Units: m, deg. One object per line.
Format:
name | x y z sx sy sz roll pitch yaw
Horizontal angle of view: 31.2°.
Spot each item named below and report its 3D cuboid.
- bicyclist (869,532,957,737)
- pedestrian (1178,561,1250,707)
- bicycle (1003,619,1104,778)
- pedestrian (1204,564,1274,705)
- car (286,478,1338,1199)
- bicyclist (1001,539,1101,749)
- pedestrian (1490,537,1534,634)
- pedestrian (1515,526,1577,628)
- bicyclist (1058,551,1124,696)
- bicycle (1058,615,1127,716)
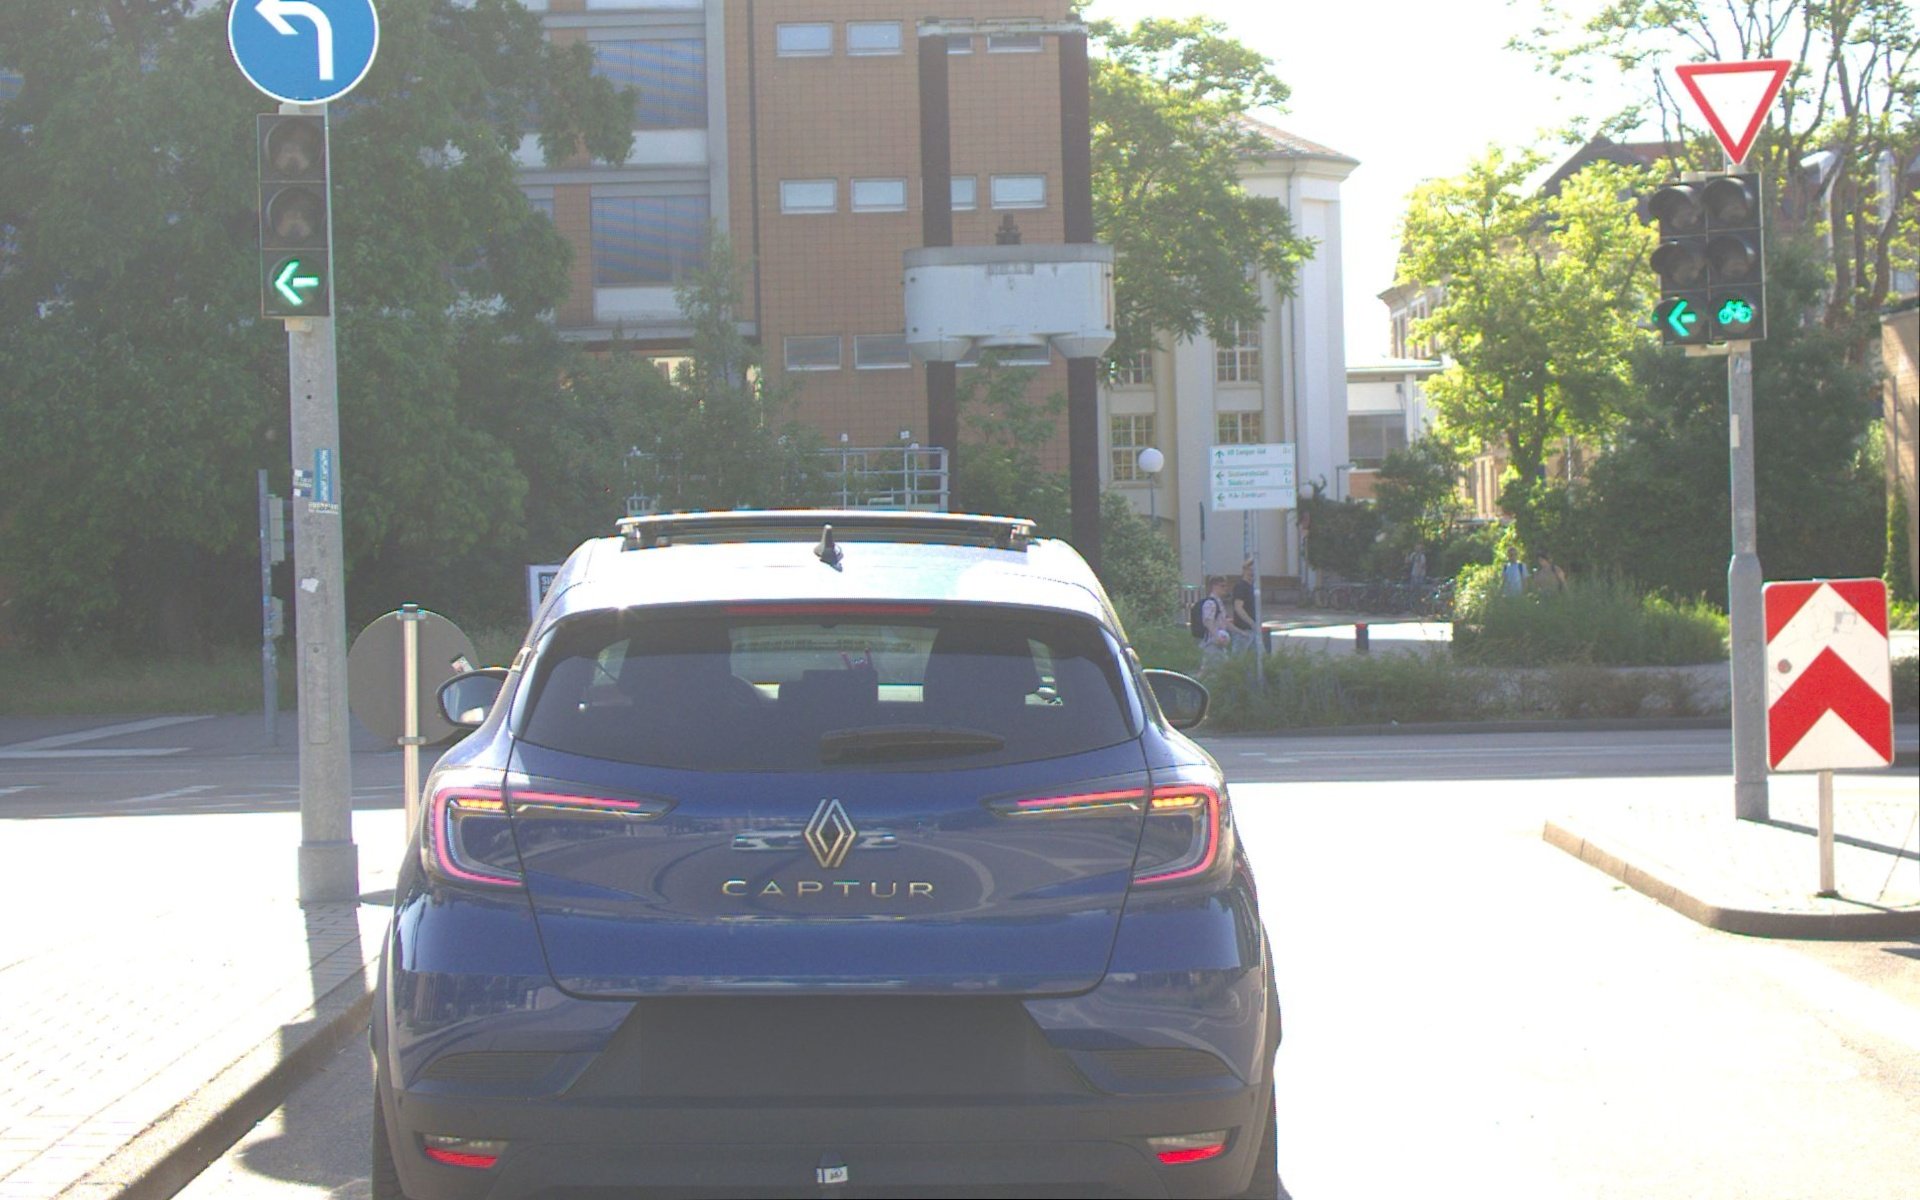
bicyclist | -0.413 0.291 30.196 0.719 1.756 0.978 -1 1 -1
pedestrian | 3.189 0.418 43.157 0.734 1.810 0.731 1 0 17
bicycle | 0.725 0.756 27.173 0.716 1.161 1.870 -1 1 0
pedestrian | 3.570 0.430 44.015 0.734 1.776 0.731 1 0 17
car | -0.291 0.579 8.103 1.876 1.612 3.798 1 1 -1
bicyclist | 0.710 0.335 27.189 0.719 1.611 0.978 -1 1 -1
pedestrian | 9.461 -0.253 58.906 0.676 1.637 0.735 1 0 13
pedestrian | 9.496 -0.376 55.676 0.677 1.637 0.734 1 0 43
bicyclist | 1.589 0.274 41.835 0.719 1.729 0.978 -1 1 0
bicycle | 1.607 0.787 41.914 0.746 1.161 1.870 -1 1 0
